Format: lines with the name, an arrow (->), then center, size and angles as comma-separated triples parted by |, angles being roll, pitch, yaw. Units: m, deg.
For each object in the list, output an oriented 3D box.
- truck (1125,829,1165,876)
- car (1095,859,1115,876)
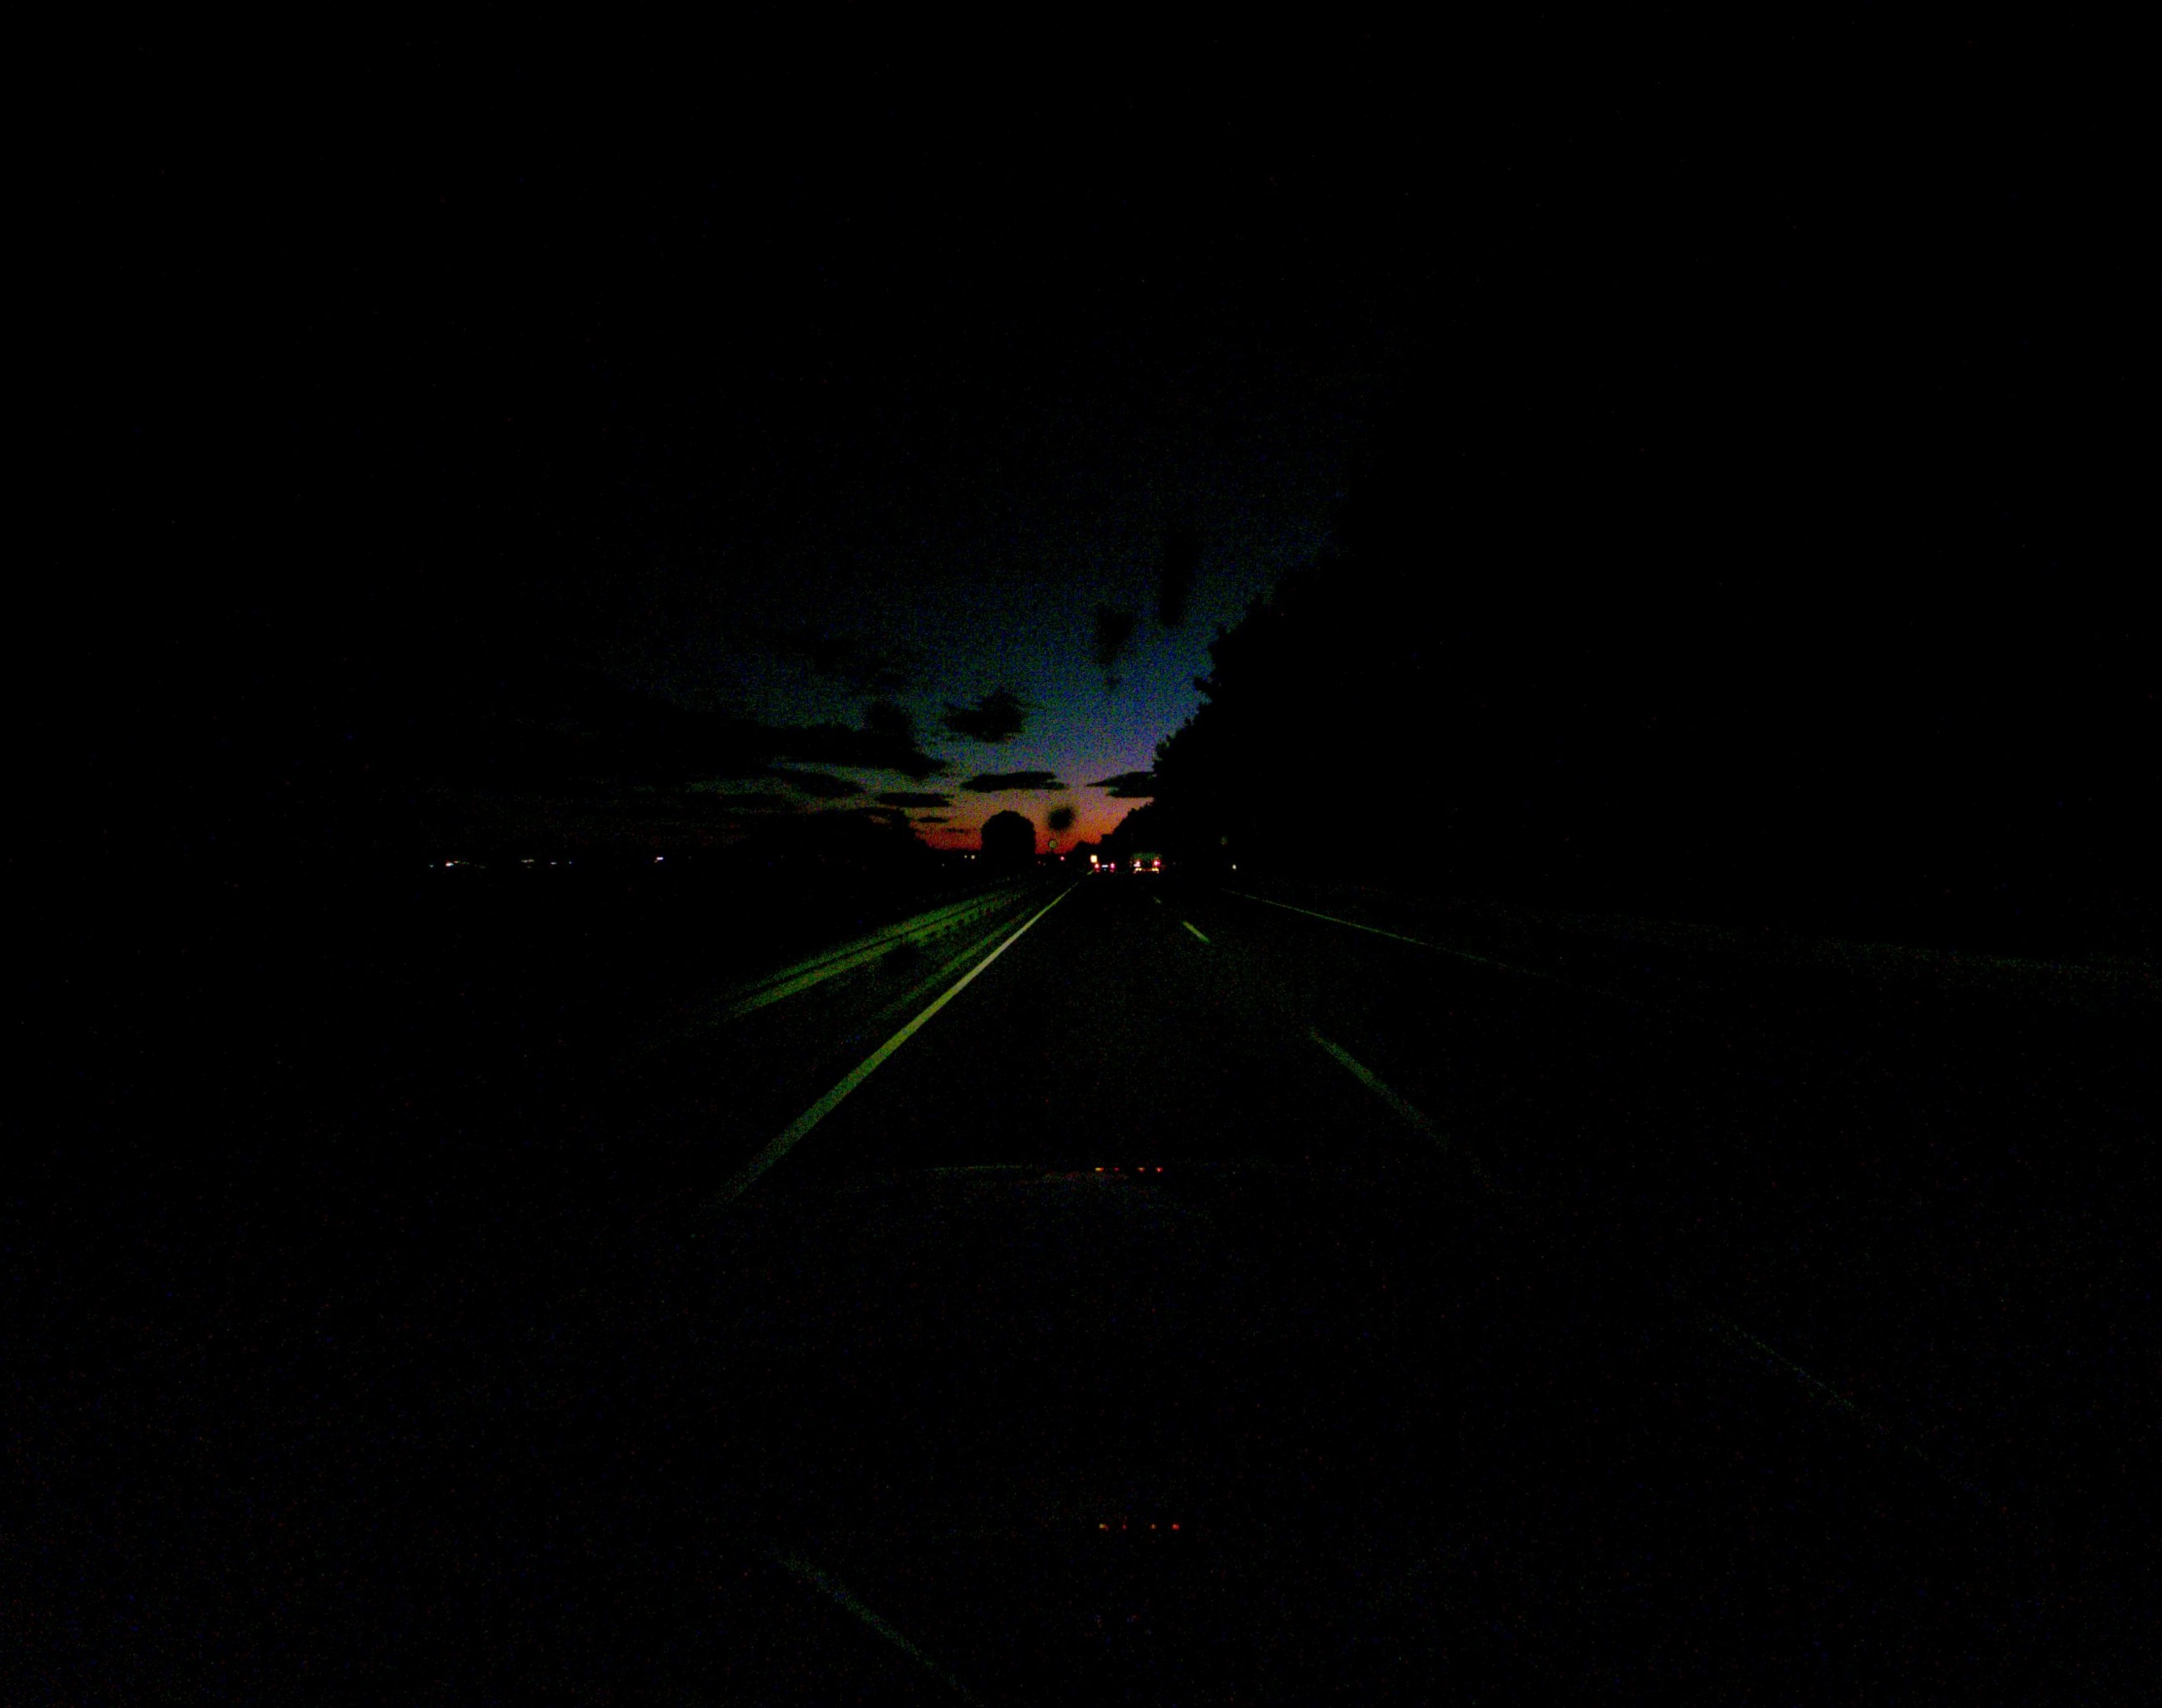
truck -> 6.056, -0.110, 78.764 | 2.873, 4.106, 12.683 | -1, 0, 0
car -> 2.094, 1.179, 71.373 | 1.690, 1.452, 3.914 | -1, 0, 0
